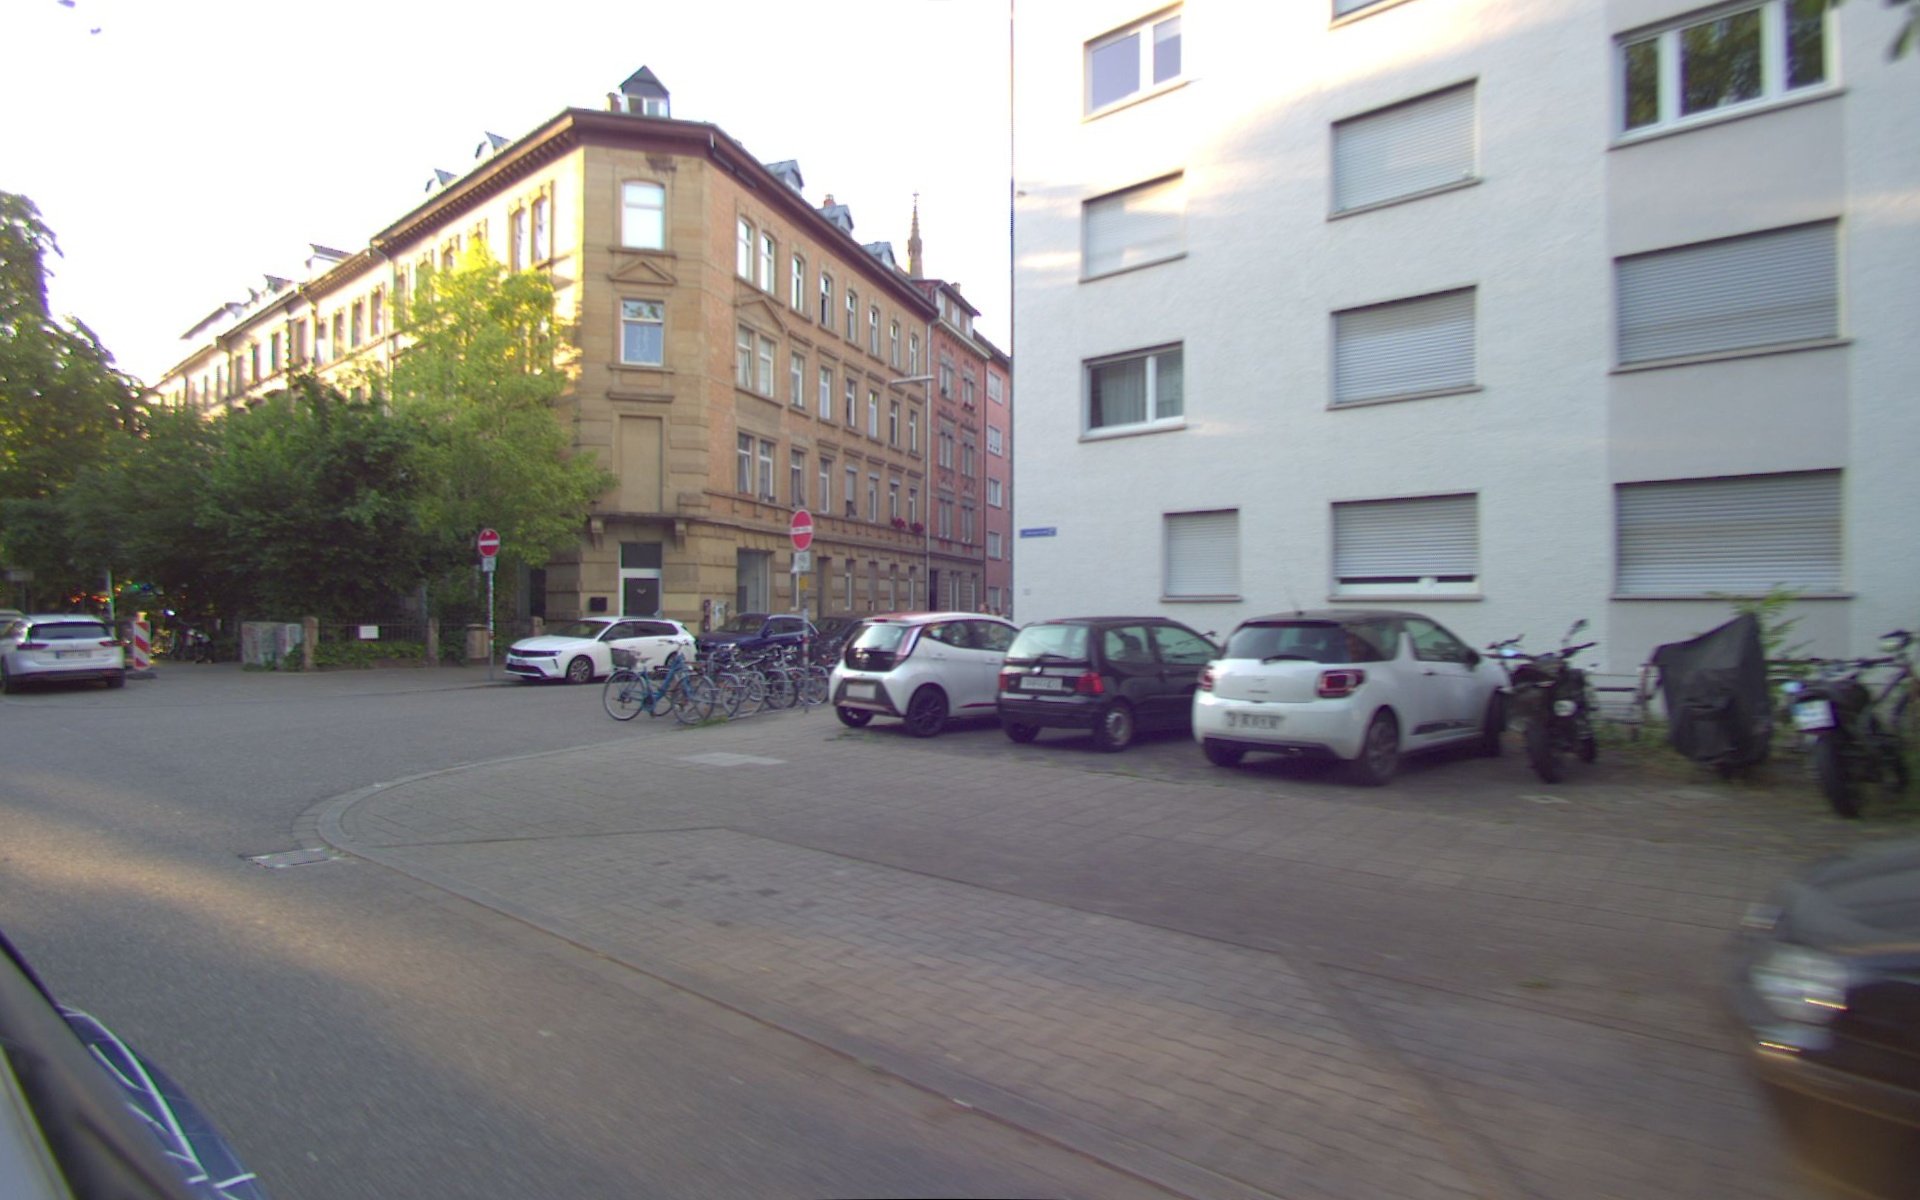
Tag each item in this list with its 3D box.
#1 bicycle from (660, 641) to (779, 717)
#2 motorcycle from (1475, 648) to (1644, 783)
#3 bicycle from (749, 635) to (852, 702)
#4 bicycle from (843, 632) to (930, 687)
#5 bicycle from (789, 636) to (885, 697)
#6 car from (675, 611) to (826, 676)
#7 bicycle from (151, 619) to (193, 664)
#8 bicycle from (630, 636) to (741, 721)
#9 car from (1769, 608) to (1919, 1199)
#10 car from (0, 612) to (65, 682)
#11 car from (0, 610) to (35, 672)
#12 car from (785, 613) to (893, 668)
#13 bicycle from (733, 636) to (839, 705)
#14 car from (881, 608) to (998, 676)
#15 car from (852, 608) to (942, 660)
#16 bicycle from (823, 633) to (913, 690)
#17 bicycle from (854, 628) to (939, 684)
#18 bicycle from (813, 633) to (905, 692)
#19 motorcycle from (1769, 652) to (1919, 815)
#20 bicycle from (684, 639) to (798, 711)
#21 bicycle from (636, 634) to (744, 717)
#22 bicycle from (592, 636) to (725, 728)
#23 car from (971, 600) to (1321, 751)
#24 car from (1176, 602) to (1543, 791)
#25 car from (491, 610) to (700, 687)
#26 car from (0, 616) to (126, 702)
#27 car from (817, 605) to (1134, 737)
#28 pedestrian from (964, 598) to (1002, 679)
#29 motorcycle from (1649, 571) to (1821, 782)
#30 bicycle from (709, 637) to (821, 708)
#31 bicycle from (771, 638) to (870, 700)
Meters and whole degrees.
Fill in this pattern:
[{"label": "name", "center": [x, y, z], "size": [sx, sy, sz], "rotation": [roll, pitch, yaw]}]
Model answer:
[{"label": "bicycle", "center": [-3.703, 1.203, 15.574], "size": [1.834, 1.117, 0.365], "rotation": [0, -1, 15]}, {"label": "motorcycle", "center": [5.356, 0.959, 8.976], "size": [2.208, 0.965, 0.588], "rotation": [-1, 0, -40]}, {"label": "bicycle", "center": [-2.870, 1.213, 18.188], "size": [1.834, 1.161, 0.365], "rotation": [0, -1, 15]}, {"label": "bicycle", "center": [-1.556, 1.237, 21.334], "size": [1.836, 1.113, 0.365], "rotation": [0, -1, 18]}, {"label": "bicycle", "center": [-2.365, 1.260, 19.402], "size": [1.834, 1.125, 0.365], "rotation": [0, -1, 15]}, {"label": "car", "center": [-5.535, 1.119, 27.191], "size": [1.702, 1.564, 4.065], "rotation": [1, -1, 29]}, {"label": "bicycle", "center": [-23.727, 1.223, 30.503], "size": [0.597, 1.294, 2.493], "rotation": [1, -2, -29]}, {"label": "bicycle", "center": [-4.010, 1.131, 14.755], "size": [1.663, 1.190, 0.242], "rotation": [0, -1, 15]}, {"label": "car", "center": [3.678, 0.733, 1.329], "size": [3.961, 1.482, 1.598], "rotation": [-1, -1, 43]}, {"label": "car", "center": [-23.250, 1.106, 24.558], "size": [4.399, 1.513, 1.673], "rotation": [0, 2, 40]}, {"label": "car", "center": [-26.887, 1.135, 27.754], "size": [4.399, 1.575, 1.673], "rotation": [-1, 1, 40]}, {"label": "car", "center": [-3.729, 1.230, 31.826], "size": [1.698, 1.564, 3.846], "rotation": [1, 0, 22]}, {"label": "bicycle", "center": [-3.033, 1.213, 17.606], "size": [1.834, 1.161, 0.365], "rotation": [0, -1, 15]}, {"label": "car", "center": [-0.426, 0.994, 25.244], "size": [1.785, 1.484, 3.692], "rotation": [2, 0, 17]}, {"label": "car", "center": [-2.173, 1.172, 35.870], "size": [1.697, 1.659, 3.847], "rotation": [2, 0, 22]}, {"label": "bicycle", "center": [-1.874, 1.240, 20.642], "size": [1.836, 1.113, 0.365], "rotation": [0, -1, 18]}, {"label": "bicycle", "center": [-1.372, 1.197, 21.919], "size": [1.836, 1.174, 0.365], "rotation": [0, -1, 18]}, {"label": "bicycle", "center": [-2.026, 1.230, 20.191], "size": [1.838, 1.125, 0.399], "rotation": [-1, -1, 20]}, {"label": "motorcycle", "center": [6.634, 0.913, 7.493], "size": [2.208, 0.965, 0.588], "rotation": [0, -1, -40]}, {"label": "bicycle", "center": [-3.527, 1.191, 16.290], "size": [1.834, 1.117, 0.365], "rotation": [0, -1, 15]}, {"label": "bicycle", "center": [-4.010, 1.105, 15.021], "size": [1.663, 1.190, 0.242], "rotation": [0, -1, 15]}, {"label": "bicycle", "center": [-4.212, 1.127, 14.134], "size": [1.860, 1.190, 0.336], "rotation": [1, -1, 15]}, {"label": "car", "center": [2.266, 0.761, 11.826], "size": [4.041, 1.458, 1.821], "rotation": [0, -2, -39]}, {"label": "car", "center": [3.906, 0.776, 9.691], "size": [3.519, 1.458, 1.820], "rotation": [0, -2, -41]}, {"label": "car", "center": [-8.146, 1.068, 23.044], "size": [1.703, 1.564, 4.420], "rotation": [-2, -2, 31]}, {"label": "car", "center": [-18.770, 1.138, 20.722], "size": [4.732, 1.513, 1.673], "rotation": [-1, 1, 39]}, {"label": "car", "center": [0.305, 0.829, 13.345], "size": [4.042, 1.458, 1.711], "rotation": [0, -2, -41]}, {"label": "pedestrian", "center": [0.531, 0.876, 22.985], "size": [0.618, 1.778, 0.499], "rotation": [-5, -1, 19]}, {"label": "motorcycle", "center": [7.040, 0.613, 9.122], "size": [2.817, 1.651, 0.676], "rotation": [1, -1, -41]}, {"label": "bicycle", "center": [-3.214, 1.173, 16.646], "size": [1.834, 1.117, 0.365], "rotation": [0, -1, 15]}, {"label": "bicycle", "center": [-2.610, 1.272, 18.870], "size": [1.834, 1.125, 0.365], "rotation": [0, -1, 15]}]
